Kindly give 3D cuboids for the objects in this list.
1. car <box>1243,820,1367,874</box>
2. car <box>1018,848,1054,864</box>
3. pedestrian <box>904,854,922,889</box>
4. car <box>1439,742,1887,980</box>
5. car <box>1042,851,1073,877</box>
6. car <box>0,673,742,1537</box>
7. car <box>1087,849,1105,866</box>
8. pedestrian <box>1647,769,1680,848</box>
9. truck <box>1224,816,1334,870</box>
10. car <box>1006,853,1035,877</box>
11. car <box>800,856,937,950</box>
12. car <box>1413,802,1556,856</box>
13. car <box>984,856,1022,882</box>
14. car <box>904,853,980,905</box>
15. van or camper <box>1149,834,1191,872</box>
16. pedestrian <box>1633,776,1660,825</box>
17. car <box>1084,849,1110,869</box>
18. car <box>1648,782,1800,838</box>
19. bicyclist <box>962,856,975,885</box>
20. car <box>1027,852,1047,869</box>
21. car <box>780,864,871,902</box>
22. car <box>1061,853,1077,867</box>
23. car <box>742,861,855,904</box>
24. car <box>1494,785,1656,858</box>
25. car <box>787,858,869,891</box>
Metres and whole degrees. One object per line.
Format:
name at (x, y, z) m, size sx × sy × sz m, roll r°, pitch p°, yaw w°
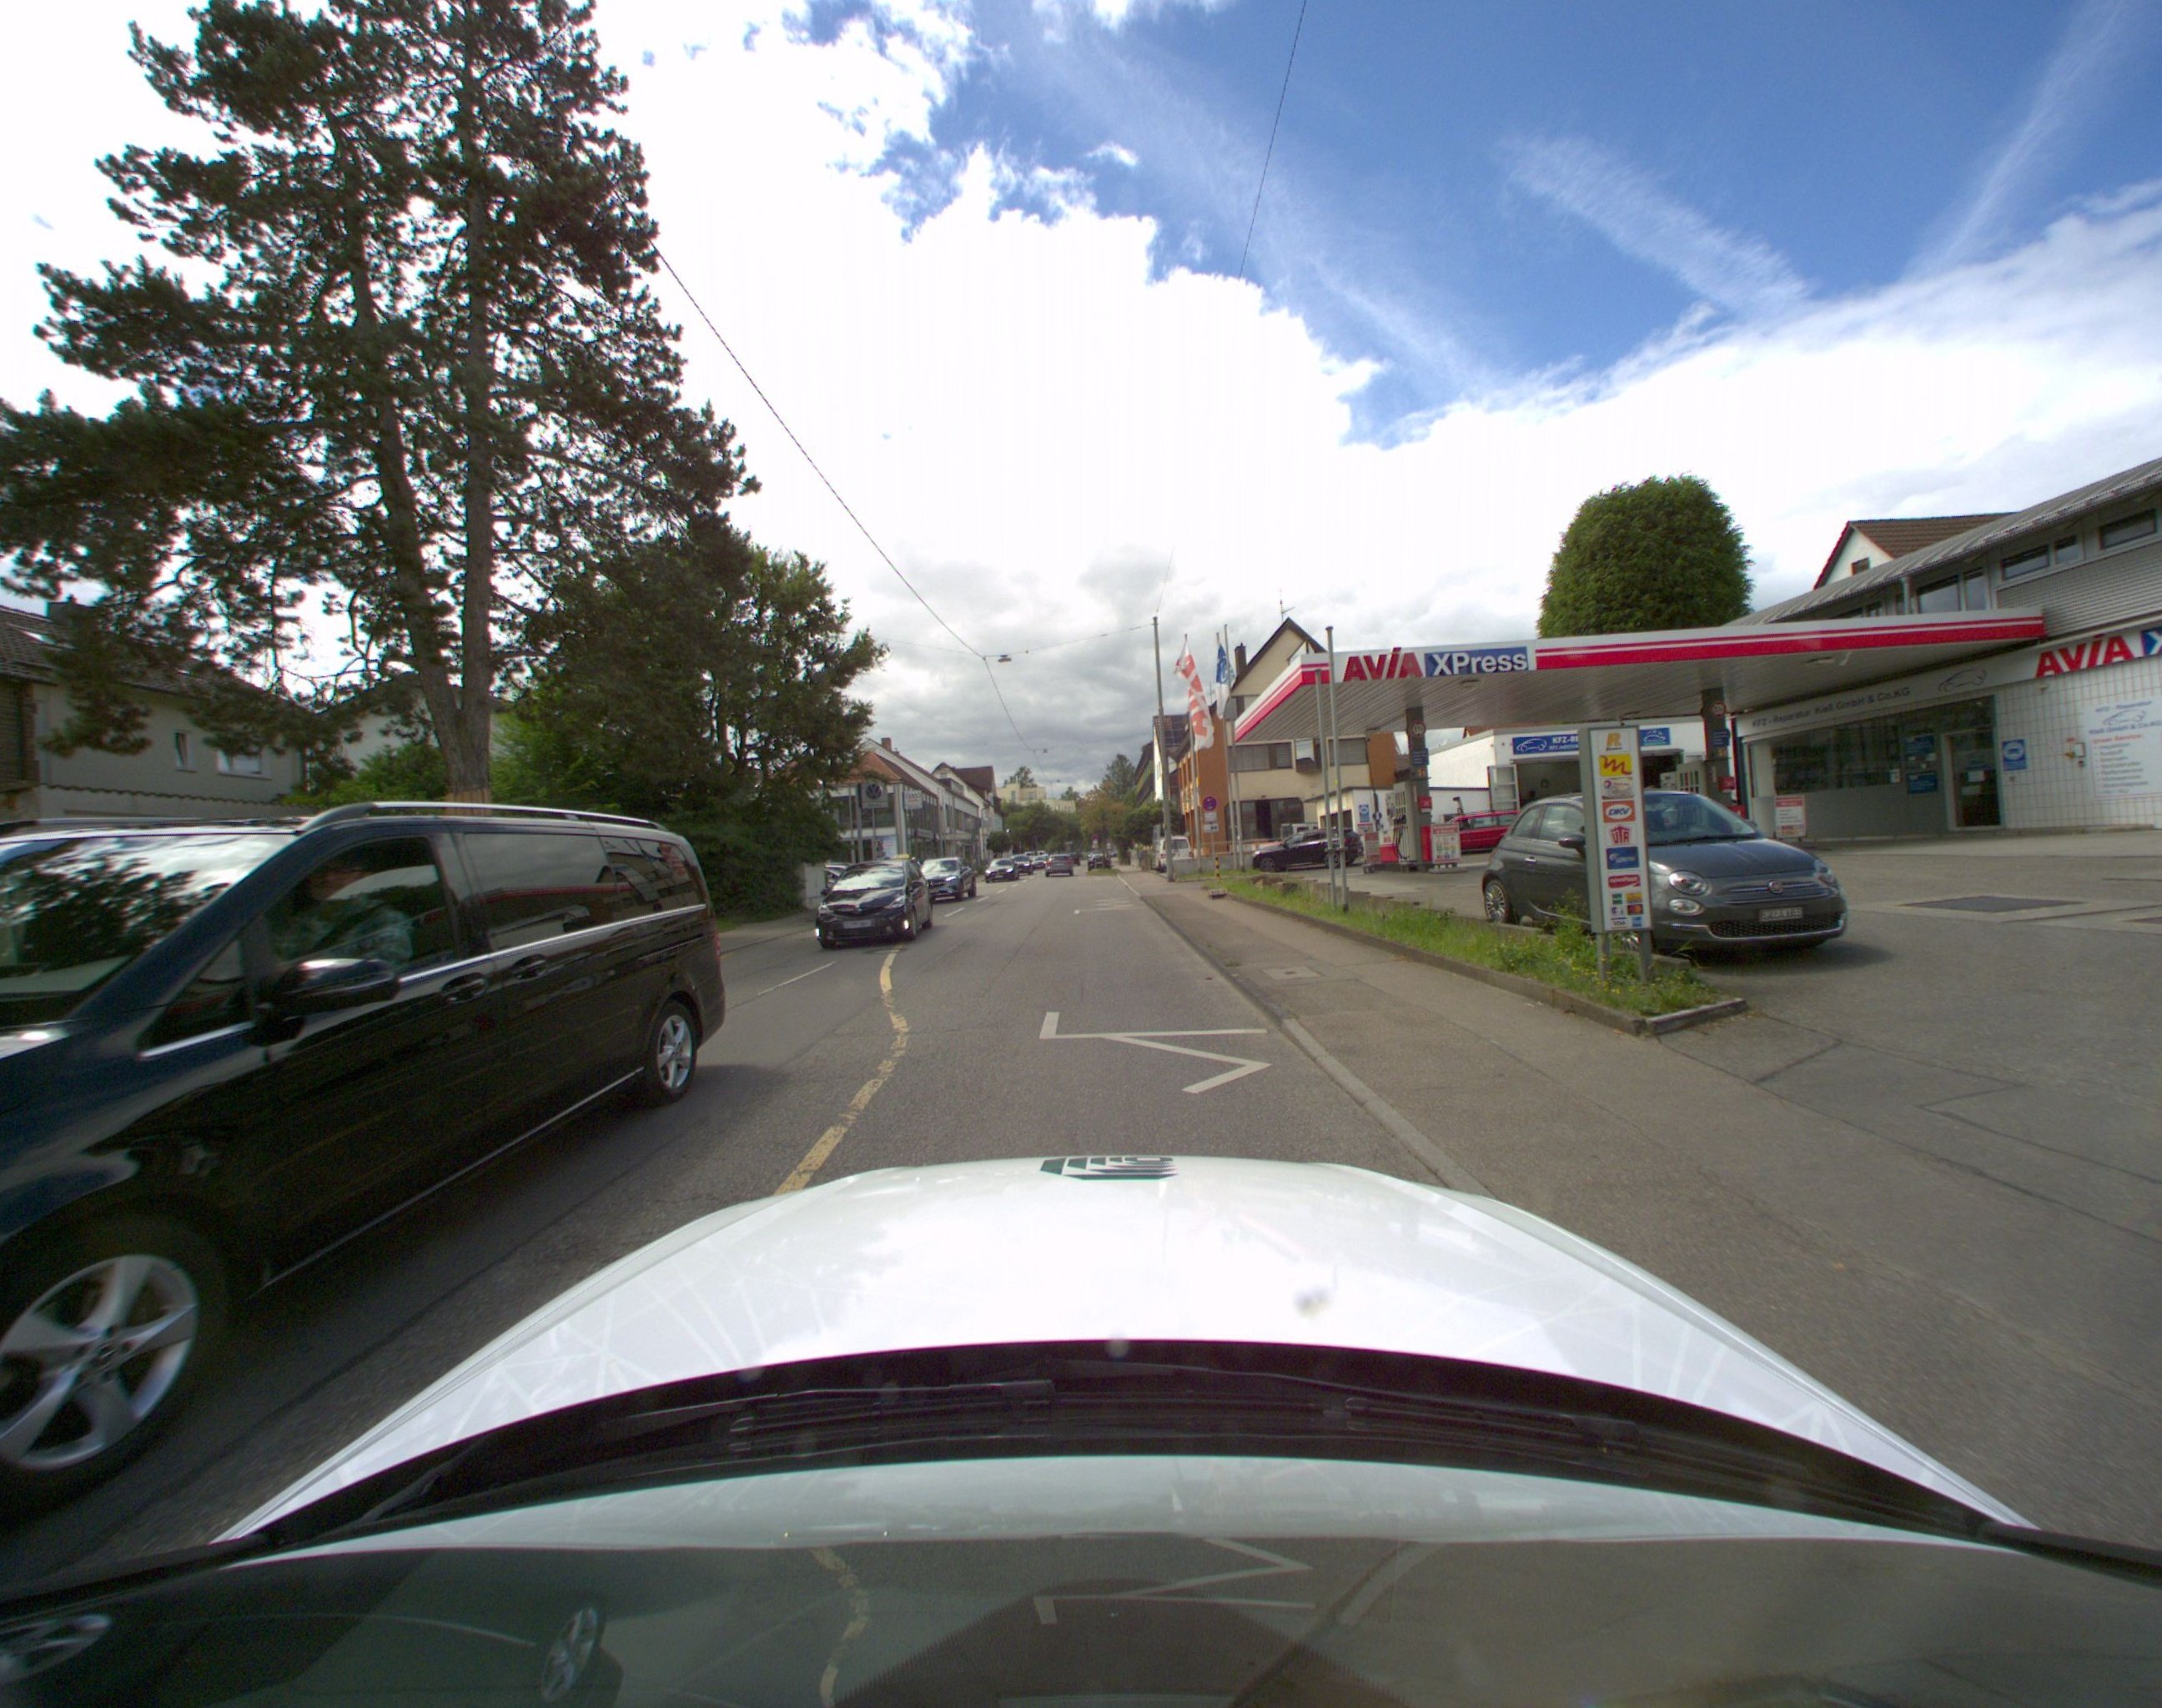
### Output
car at (8.770, -0.251, 32.014) m, size 4.263 × 1.630 × 1.646 m, roll -7°, pitch 0°, yaw 36°
car at (-7.265, 0.364, 130.602) m, size 5.170 × 1.993 × 2.118 m, roll -6°, pitch 0°, yaw 18°
pedestrian at (-8.499, 0.878, 41.225) m, size 0.680 × 1.737 × 0.868 m, roll -2°, pitch -1°, yaw 0°
car at (5.416, 0.055, 8.394) m, size 1.609 × 1.595 × 4.163 m, roll -10°, pitch -1°, yaw 4°
car at (-1.559, 0.737, 55.324) m, size 1.950 × 1.523 × 4.326 m, roll -3°, pitch -3°, yaw -1°
car at (-3.490, 0.605, 3.652) m, size 1.904 × 1.951 × 4.909 m, roll -4°, pitch 0°, yaw -2°
car at (1.653, 0.359, 87.167) m, size 1.683 × 1.666 × 4.464 m, roll -4°, pitch -1°, yaw 2°
pedestrian at (14.646, -1.126, 20.482) m, size 0.579 × 1.935 × 0.544 m, roll -3°, pitch -1°, yaw 37°
truck at (10.183, -0.567, 42.275) m, size 5.070 × 2.457 × 2.357 m, roll -3°, pitch 1°, yaw 0°
car at (-4.745, 0.847, 64.058) m, size 1.825 × 1.630 × 4.320 m, roll -4°, pitch 0°, yaw 0°
car at (-4.176, 0.875, 16.748) m, size 1.862 × 1.527 × 4.520 m, roll -4°, pitch 0°, yaw -5°
car at (14.917, -0.896, 30.397) m, size 4.555 × 1.717 × 1.835 m, roll -3°, pitch -1°, yaw 20°
car at (-4.852, 0.915, 51.217) m, size 1.734 × 1.429 × 4.525 m, roll -5°, pitch 0°, yaw 1°
car at (-5.154, 0.873, 30.820) m, size 1.859 × 1.617 × 4.537 m, roll -5°, pitch 1°, yaw 2°
van or camper at (5.177, -0.029, 47.716) m, size 1.861 × 2.032 × 4.546 m, roll -2°, pitch -1°, yaw 0°
pedestrian at (22.036, -2.073, 31.741) m, size 0.688 × 1.845 × 0.666 m, roll -1°, pitch -1°, yaw -43°
car at (1.337, 0.438, 67.738) m, size 1.978 × 1.448 × 4.751 m, roll -4°, pitch -1°, yaw 1°
car at (21.477, -1.478, 27.308) m, size 3.728 × 1.440 × 1.623 m, roll -6°, pitch 4°, yaw 2°
bicyclist at (-5.868, 0.872, 42.356) m, size 0.468 × 1.449 × 0.864 m, roll -5°, pitch 0°, yaw -3°
car at (-4.328, 0.679, 80.593) m, size 1.826 × 1.523 × 4.167 m, roll -4°, pitch -1°, yaw -2°
car at (-12.264, 1.380, 39.225) m, size 3.729 × 1.518 × 1.728 m, roll -4°, pitch 0°, yaw -2°
car at (-1.394, 0.685, 91.435) m, size 1.610 × 1.523 × 3.566 m, roll -4°, pitch -1°, yaw -2°
car at (-12.530, 1.248, 36.329) m, size 4.275 × 1.641 × 1.904 m, roll -2°, pitch 0°, yaw 0°
car at (13.031, -0.765, 21.867) m, size 1.624 × 1.608 × 4.573 m, roll -3°, pitch -1°, yaw 2°
car at (-12.994, 1.052, 41.972) m, size 3.729 × 1.560 × 1.534 m, roll -1°, pitch 0°, yaw -2°
